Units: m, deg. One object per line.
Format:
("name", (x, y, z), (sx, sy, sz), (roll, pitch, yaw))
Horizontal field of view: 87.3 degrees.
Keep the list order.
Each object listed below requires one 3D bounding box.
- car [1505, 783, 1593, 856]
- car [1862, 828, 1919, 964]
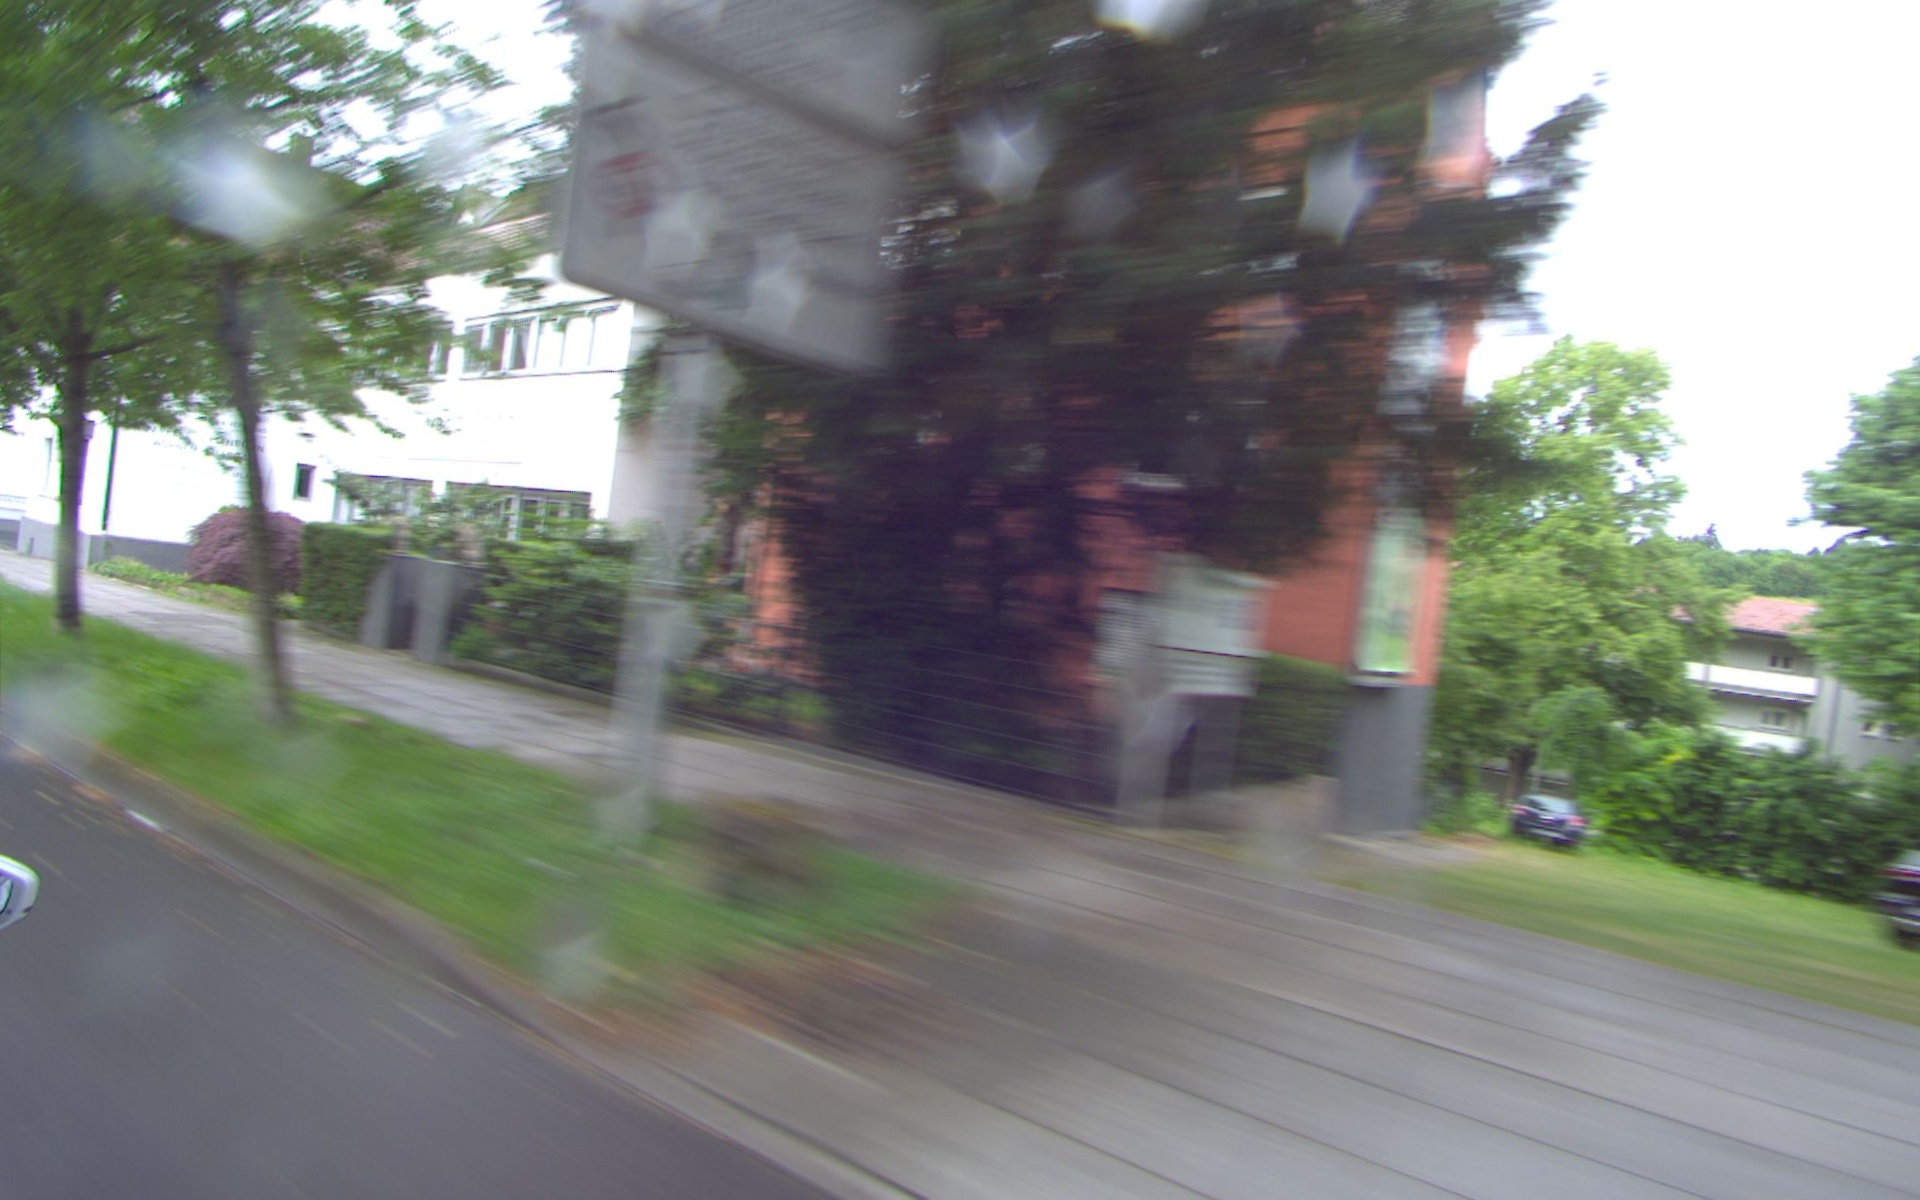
("car", (16.248, 6.068, 27.677), (1.683, 1.431, 3.586), (7, -9, 36))
("car", (14.568, 4.265, 13.872), (3.577, 1.670, 1.869), (9, -2, -26))
